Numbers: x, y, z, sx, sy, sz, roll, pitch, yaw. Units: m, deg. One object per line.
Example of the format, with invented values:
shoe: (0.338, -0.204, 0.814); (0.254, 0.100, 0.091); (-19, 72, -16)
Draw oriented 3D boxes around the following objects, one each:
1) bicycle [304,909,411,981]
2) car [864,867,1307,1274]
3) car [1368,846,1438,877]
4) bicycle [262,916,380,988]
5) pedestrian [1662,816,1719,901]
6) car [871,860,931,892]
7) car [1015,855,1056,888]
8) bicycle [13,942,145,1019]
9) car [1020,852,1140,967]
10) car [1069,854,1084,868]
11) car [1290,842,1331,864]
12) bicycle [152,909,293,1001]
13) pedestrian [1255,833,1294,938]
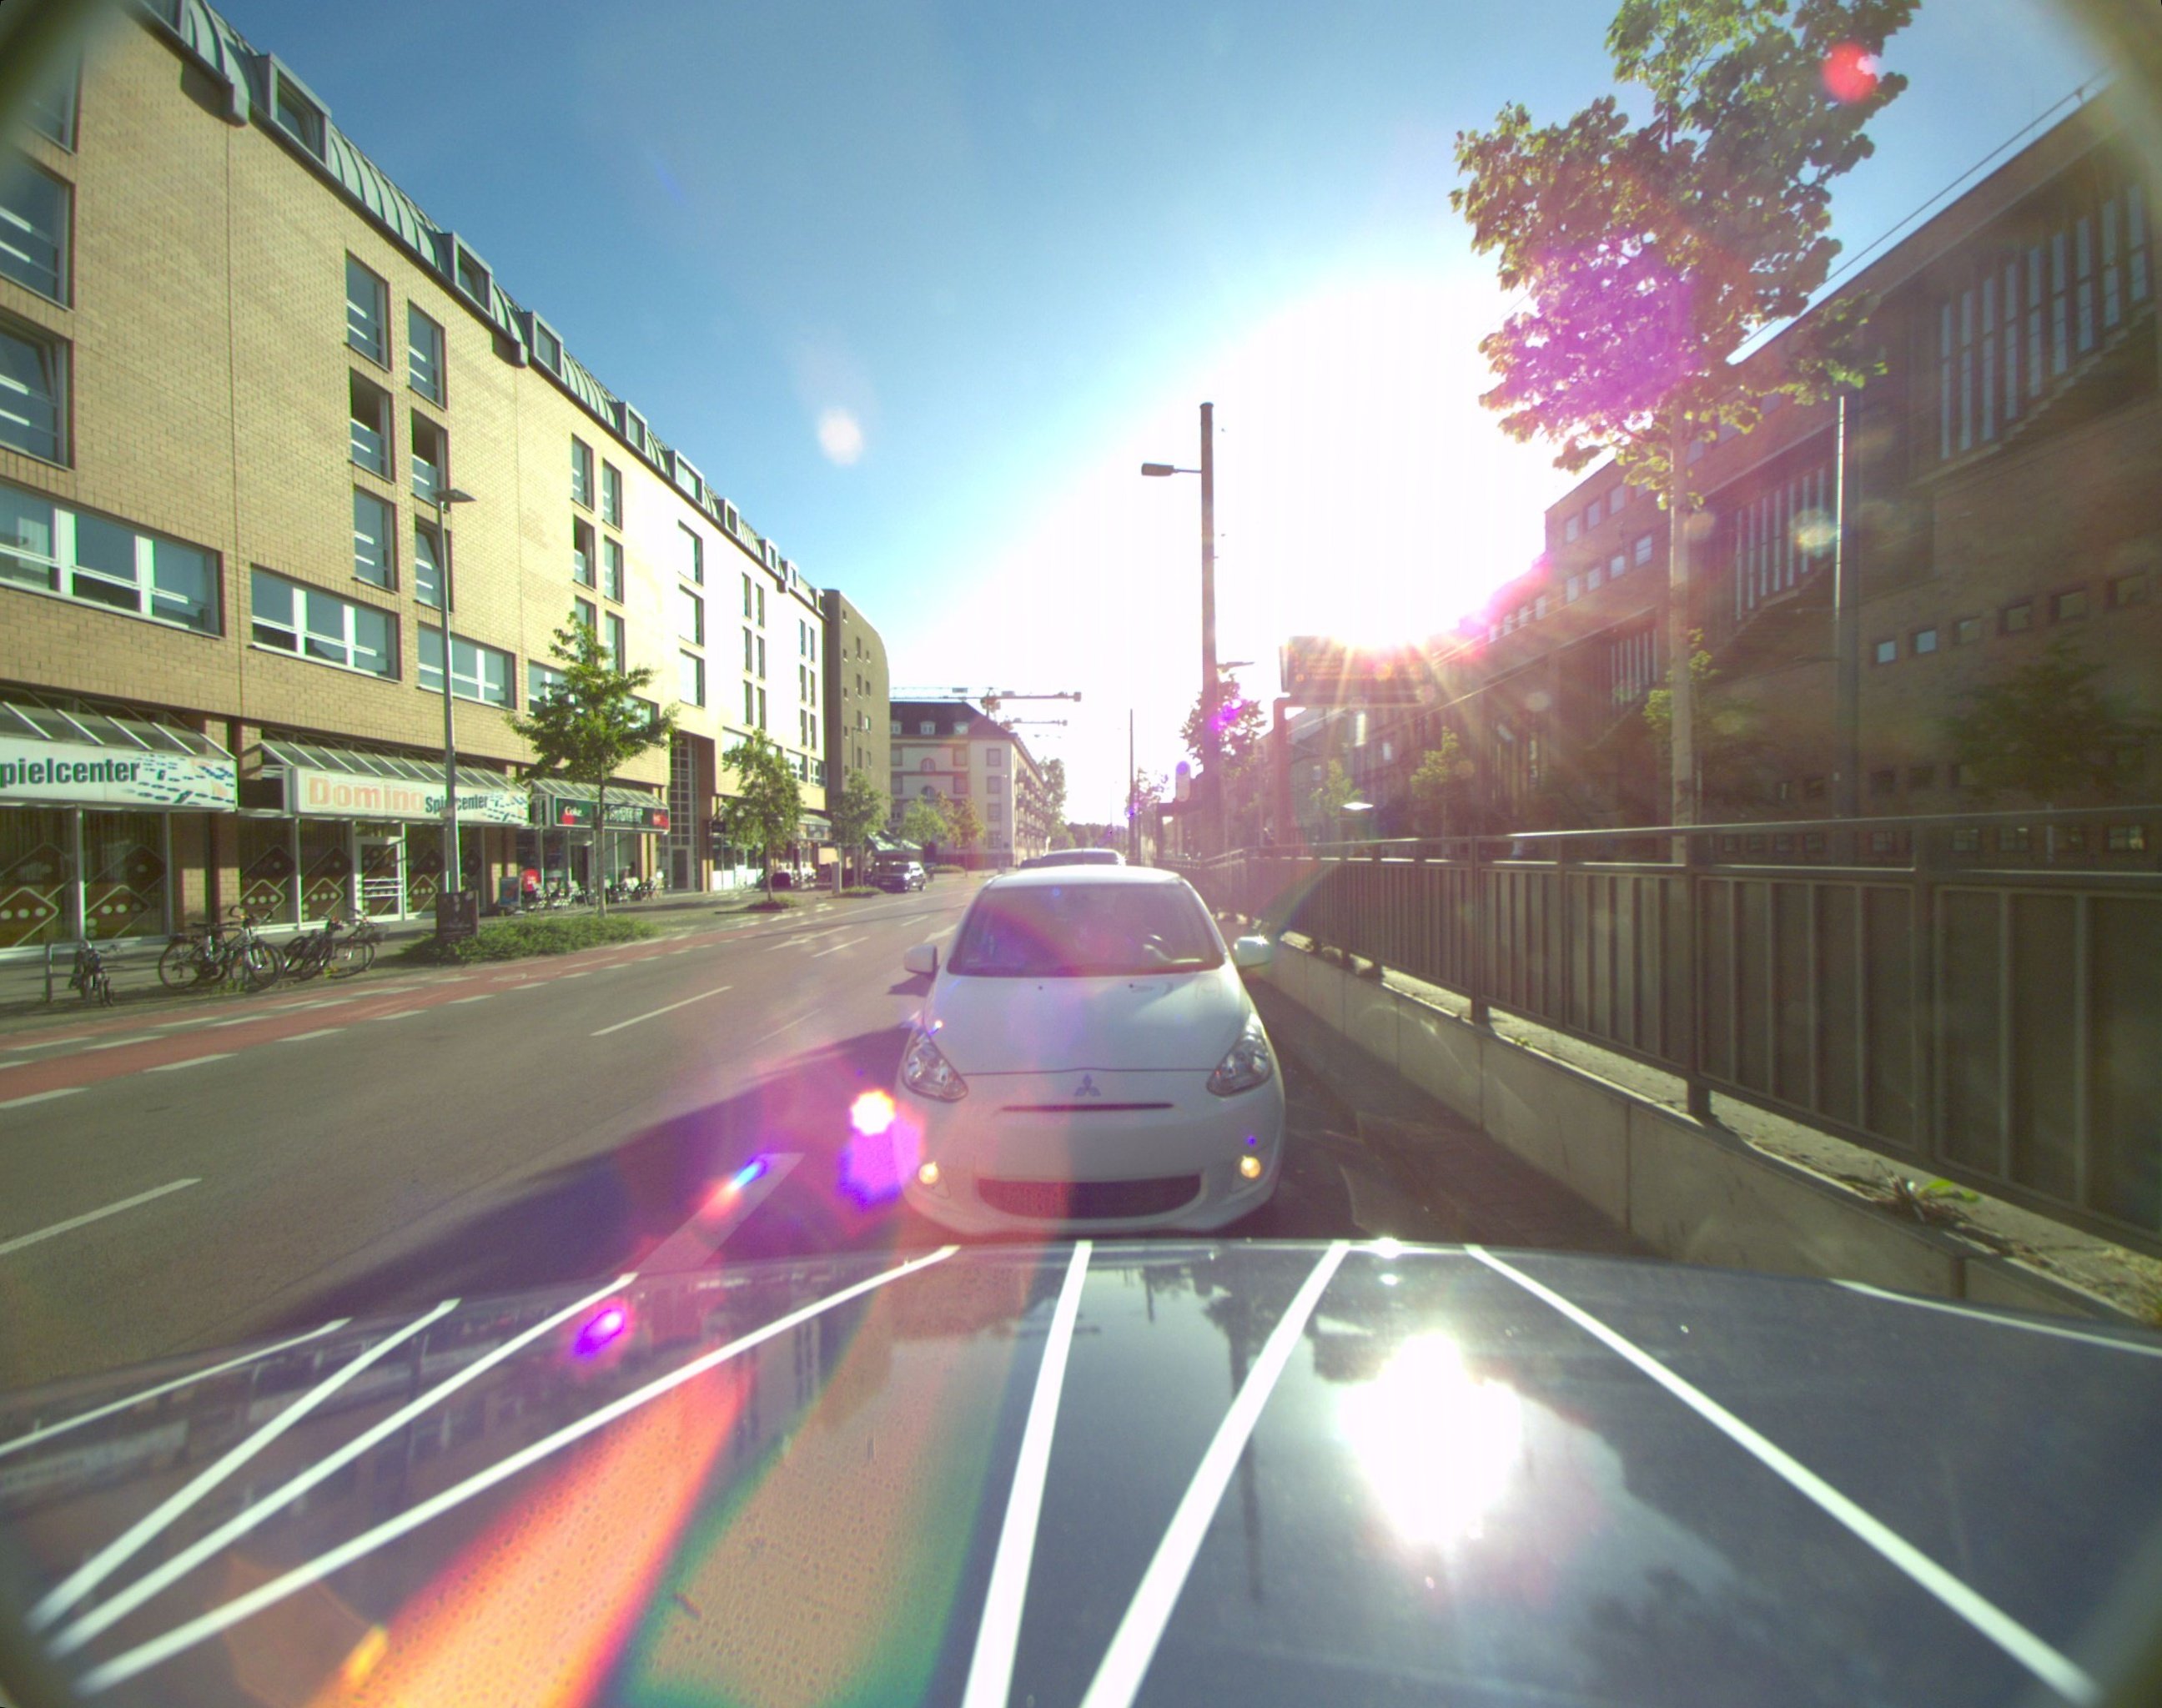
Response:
bicycle: (-11.910, 1.479, 12.501); (1.835, 1.050, 0.350); (1, 2, 15)
car: (0.020, 0.910, 5.160); (1.720, 1.422, 4.215); (-2, 1, 0)
car: (17.440, 0.360, 41.406); (1.830, 1.559, 4.693); (0, 1, 0)
bicycle: (-12.024, 1.530, 12.024); (1.835, 0.980, 0.449); (1, 2, 15)
pedestrian: (13.299, 0.099, 16.583); (0.685, 1.797, 0.668); (-2, 2, 0)
car: (-9.784, 1.169, 41.638); (1.778, 1.630, 4.002); (-1, 0, 9)
car: (-2.438, 0.899, 41.610); (1.808, 1.586, 4.453); (-3, 0, 1)
bicycle: (-12.951, 1.618, 9.817); (1.772, 0.827, 0.366); (1, 2, 15)
car: (-0.020, 0.835, 13.502); (1.720, 1.591, 4.215); (-2, 1, 0)
car: (-0.629, 0.961, 111.573); (2.164, 1.904, 4.472); (-2, 0, 0)
car: (17.542, -0.105, 58.186); (1.830, 1.559, 4.240); (0, 1, -1)
bicycle: (-12.342, 1.423, 10.930); (1.835, 1.156, 0.565); (1, 2, 15)
pedestrian: (4.573, 0.726, 18.005); (0.684, 2.428, 0.626); (-2, 2, -2)
